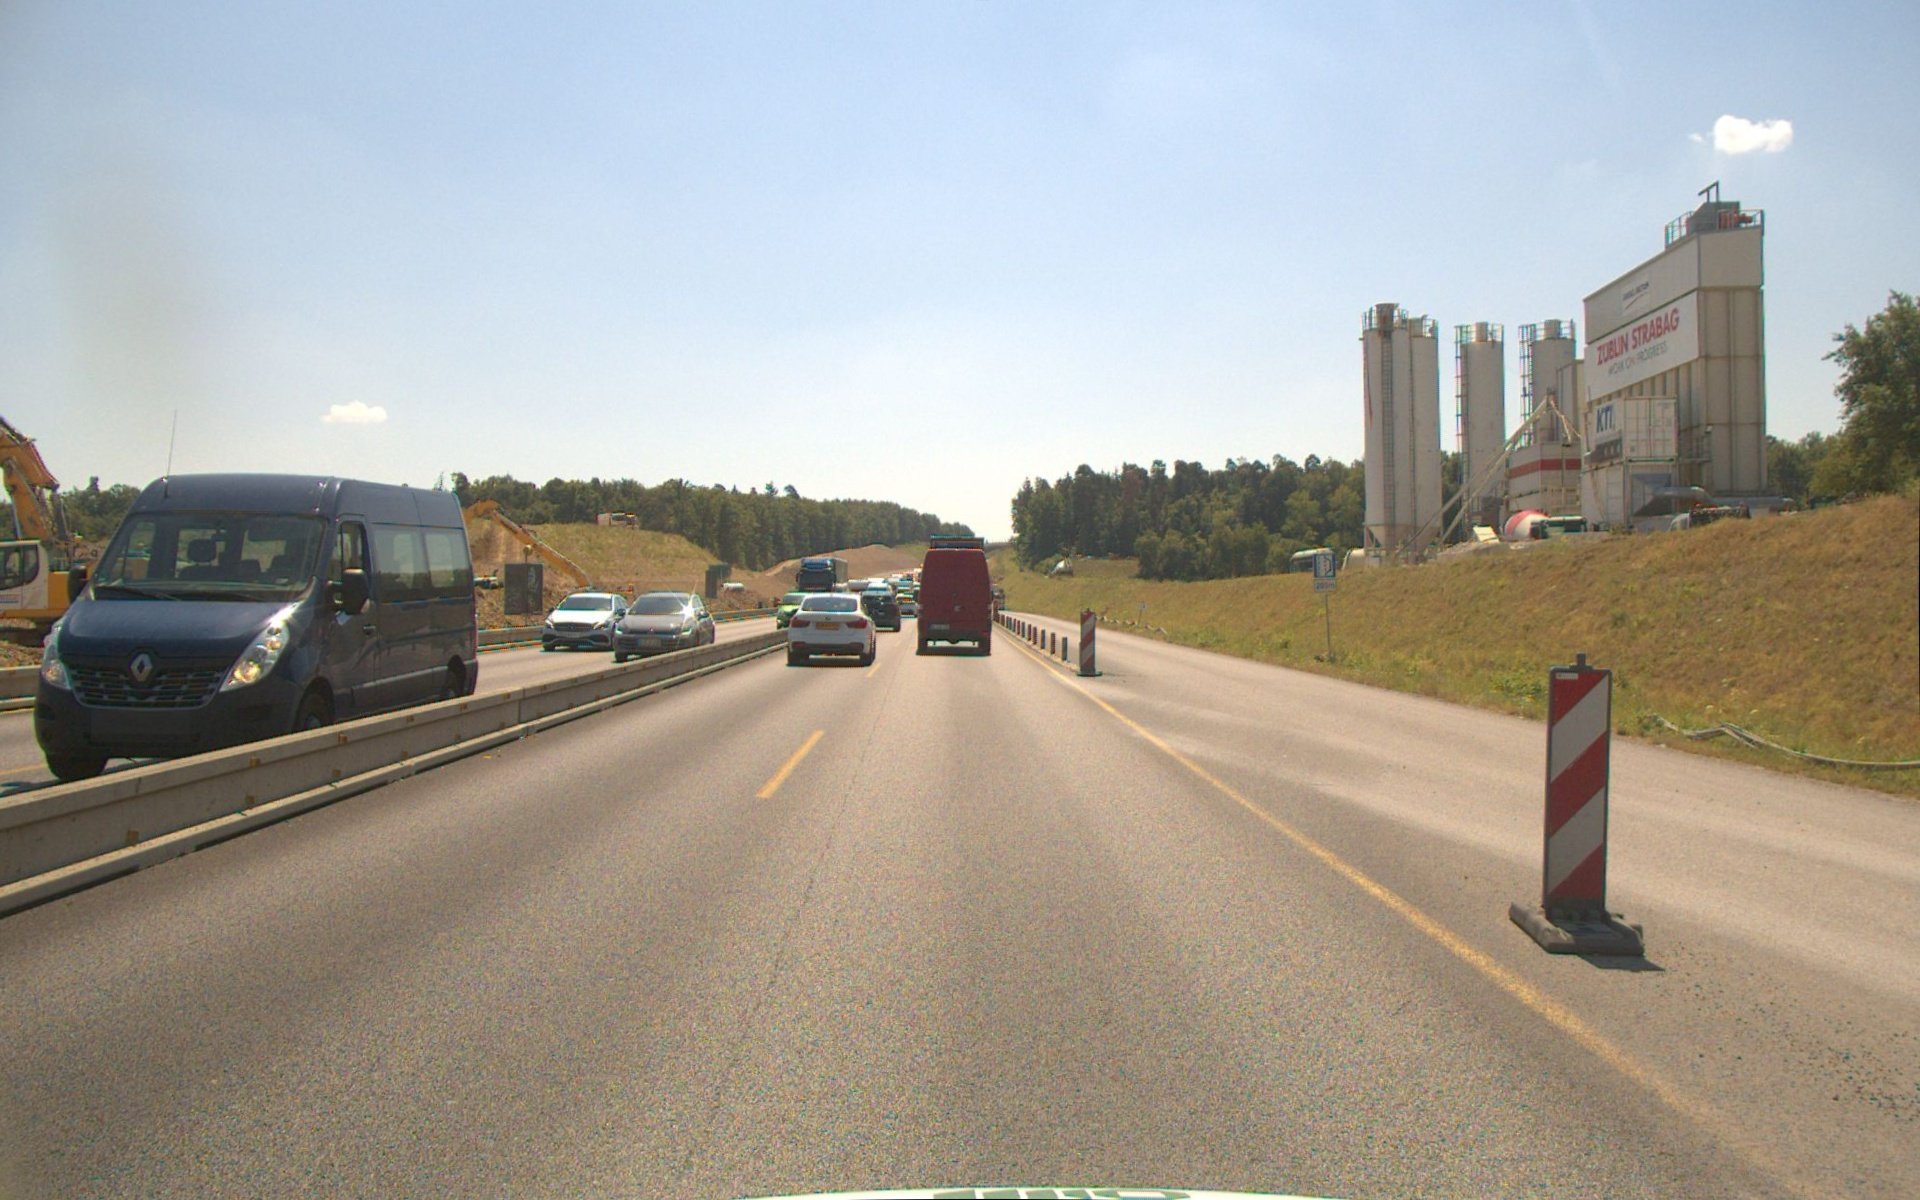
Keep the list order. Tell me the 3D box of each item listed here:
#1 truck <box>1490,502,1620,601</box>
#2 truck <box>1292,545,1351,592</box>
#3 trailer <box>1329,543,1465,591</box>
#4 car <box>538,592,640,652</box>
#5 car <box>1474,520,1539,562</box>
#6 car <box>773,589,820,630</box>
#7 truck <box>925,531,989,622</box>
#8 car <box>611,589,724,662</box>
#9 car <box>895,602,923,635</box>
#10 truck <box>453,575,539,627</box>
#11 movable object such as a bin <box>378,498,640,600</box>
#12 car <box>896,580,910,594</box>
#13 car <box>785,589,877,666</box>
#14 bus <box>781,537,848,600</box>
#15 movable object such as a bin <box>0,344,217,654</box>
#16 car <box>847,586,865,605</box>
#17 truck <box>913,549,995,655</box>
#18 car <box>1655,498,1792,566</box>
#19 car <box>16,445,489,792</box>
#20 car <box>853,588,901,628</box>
[{"bbox_3d":[28.033,-2.195,78.423,3.363,4.371,9.933,0,0,5],"label":"truck"},{"bbox_3d":[25.087,-2.129,114.641,2.837,3.167,6.010,0,0,24],"label":"truck"},{"bbox_3d":[30.668,-2.286,116.199,8.847,3.285,3.318,0,0,-15],"label":"trailer"},{"bbox_3d":[-9.558,0.524,42.904,1.656,1.458,4.448,1,0,0],"label":"car"},{"bbox_3d":[28.773,-3.094,87.227,1.953,2.049,4.427,0,0,-1],"label":"car"},{"bbox_3d":[-6.697,0.373,68.086,1.570,1.607,4.167,0,0,0],"label":"car"},{"bbox_3d":[-0.101,-1.121,81.037,2.953,4.225,8.272,0,0,0],"label":"truck"},{"bbox_3d":[-6.490,0.533,37.159,1.750,1.502,4.524,1,0,0],"label":"car"},{"bbox_3d":[-3.315,1.196,108.593,1.727,2.049,3.826,0,0,-1],"label":"car"},{"bbox_3d":[-24.844,0.026,88.891,2.268,2.663,8.410,0,0,0],"label":"truck"},{"bbox_3d":[-33.303,-3.774,122.835,18.336,7.357,3.614,0,0,-3],"label":"movable object such as a bin"},{"bbox_3d":[-7.936,-1.759,230.696,1.953,1.937,4.000,0,0,0],"label":"car"},{"bbox_3d":[-2.778,0.558,36.630,1.759,1.561,5.071,1,0,-2],"label":"car"},{"bbox_3d":[-10.958,-2.292,126.474,3.863,4.492,17.196,0,0,-1],"label":"bus"},{"bbox_3d":[-24.242,-2.563,43.829,7.479,7.848,3.446,0,0,1],"label":"movable object such as a bin"},{"bbox_3d":[-11.095,-0.471,177.149,1.727,2.049,3.826,0,0,-1],"label":"car"},{"bbox_3d":[-0.123,0.023,45.136,2.068,2.679,6.485,0,0,1],"label":"truck"},{"bbox_3d":[25.174,-2.200,54.759,2.177,2.049,4.992,0,0,-1],"label":"car"},{"bbox_3d":[-5.909,0.119,14.706,1.915,2.511,5.357,0,0,0],"label":"car"},{"bbox_3d":[-3.335,0.309,66.985,1.758,1.561,3.931,0,0,0],"label":"car"}]
